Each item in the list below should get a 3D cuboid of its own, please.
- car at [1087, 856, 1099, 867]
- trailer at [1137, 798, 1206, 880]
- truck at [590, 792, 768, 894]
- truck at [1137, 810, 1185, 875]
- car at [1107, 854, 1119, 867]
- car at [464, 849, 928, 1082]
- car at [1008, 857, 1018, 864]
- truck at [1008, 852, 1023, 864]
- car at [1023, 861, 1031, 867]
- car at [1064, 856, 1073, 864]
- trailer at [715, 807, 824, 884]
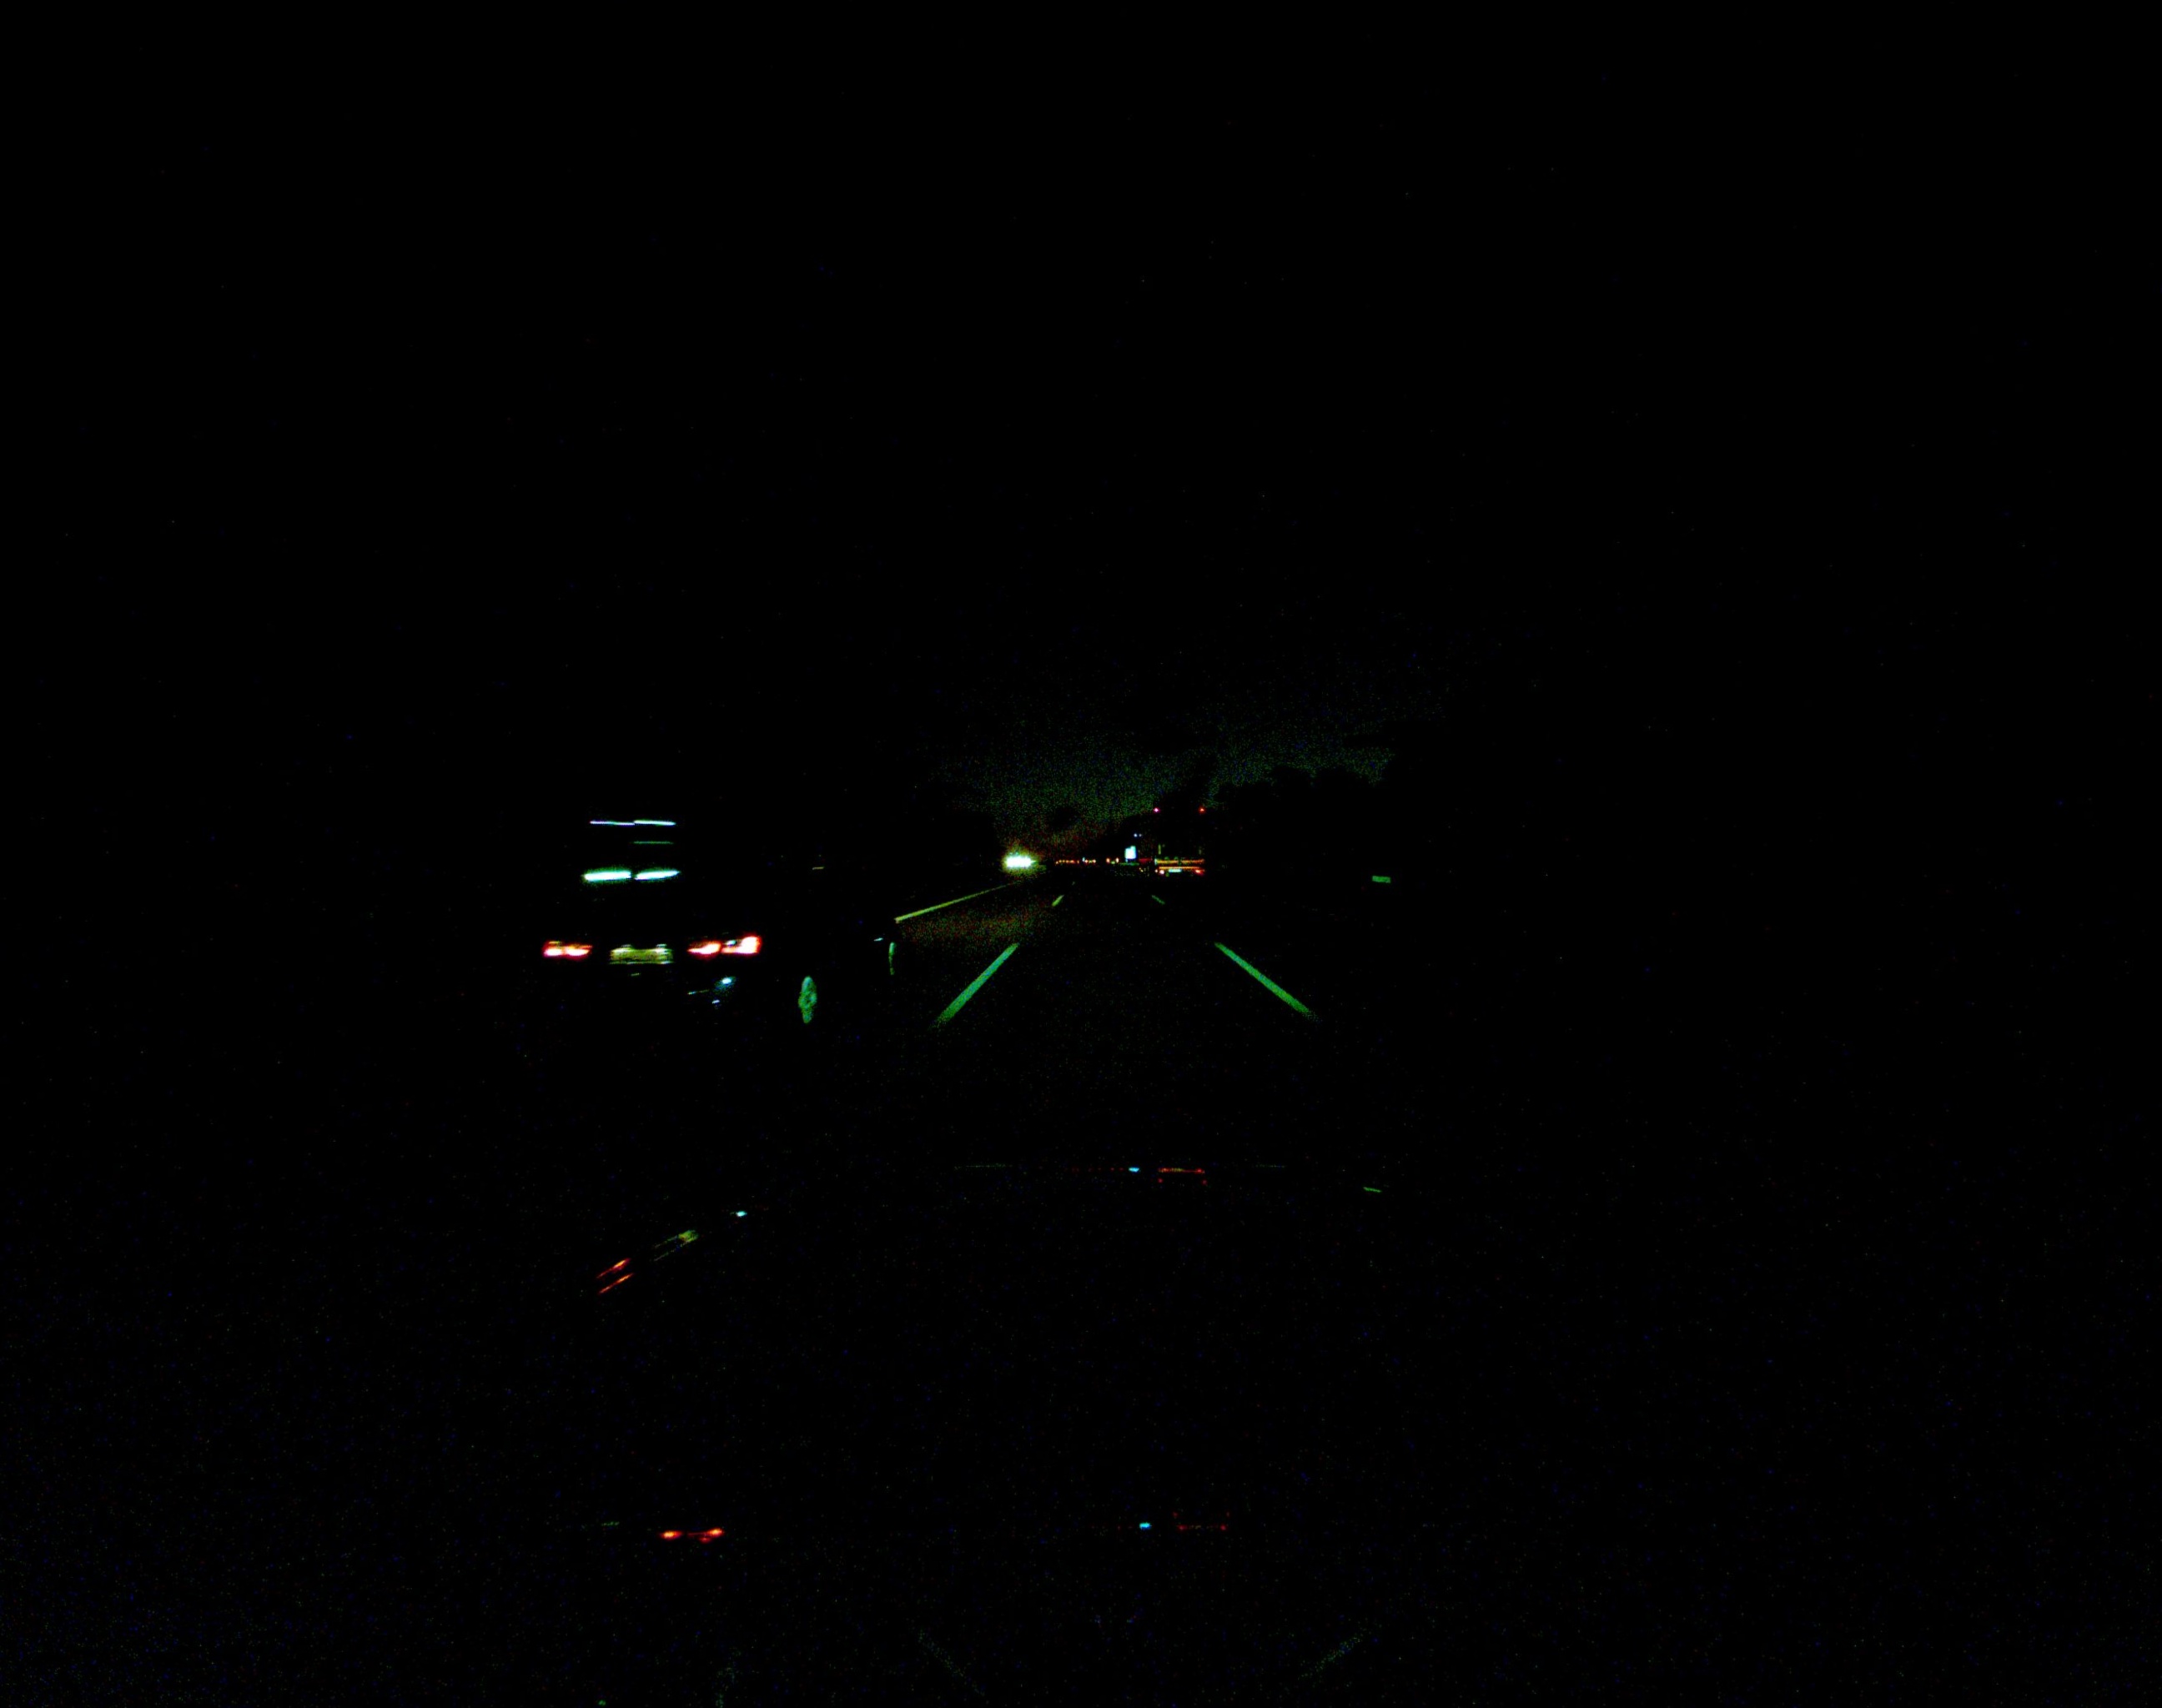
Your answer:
[{"bbox_3d":[1.977,1.272,137.689,1.987,1.794,3.999,0,-1,0],"label":"car"},{"bbox_3d":[5.250,-0.758,50.661,2.819,4.256,17.053,0,0,1],"label":"trailer"},{"bbox_3d":[-18.140,-0.440,37.920,2.850,4.071,10.636,0,0,1],"label":"truck"},{"bbox_3d":[5.390,-0.741,56.078,2.819,4.256,6.264,0,0,1],"label":"truck"},{"bbox_3d":[5.357,1.168,137.566,1.986,2.117,4.000,0,-1,1],"label":"car"},{"bbox_3d":[-3.180,0.747,8.429,1.986,1.518,5.653,0,1,1],"label":"car"},{"bbox_3d":[-15.268,1.436,183.011,1.986,1.662,4.000,0,0,1],"label":"car"},{"bbox_3d":[-19.946,1.219,248.412,3.300,3.808,10.986,0,0,1],"label":"truck"},{"bbox_3d":[-14.925,2.764,224.443,1.739,1.662,4.000,0,-2,1],"label":"car"},{"bbox_3d":[-2.991,1.541,197.460,1.986,1.794,4.000,0,-1,1],"label":"car"},{"bbox_3d":[-17.954,-0.419,47.723,2.850,4.071,8.872,0,0,1],"label":"trailer"}]
